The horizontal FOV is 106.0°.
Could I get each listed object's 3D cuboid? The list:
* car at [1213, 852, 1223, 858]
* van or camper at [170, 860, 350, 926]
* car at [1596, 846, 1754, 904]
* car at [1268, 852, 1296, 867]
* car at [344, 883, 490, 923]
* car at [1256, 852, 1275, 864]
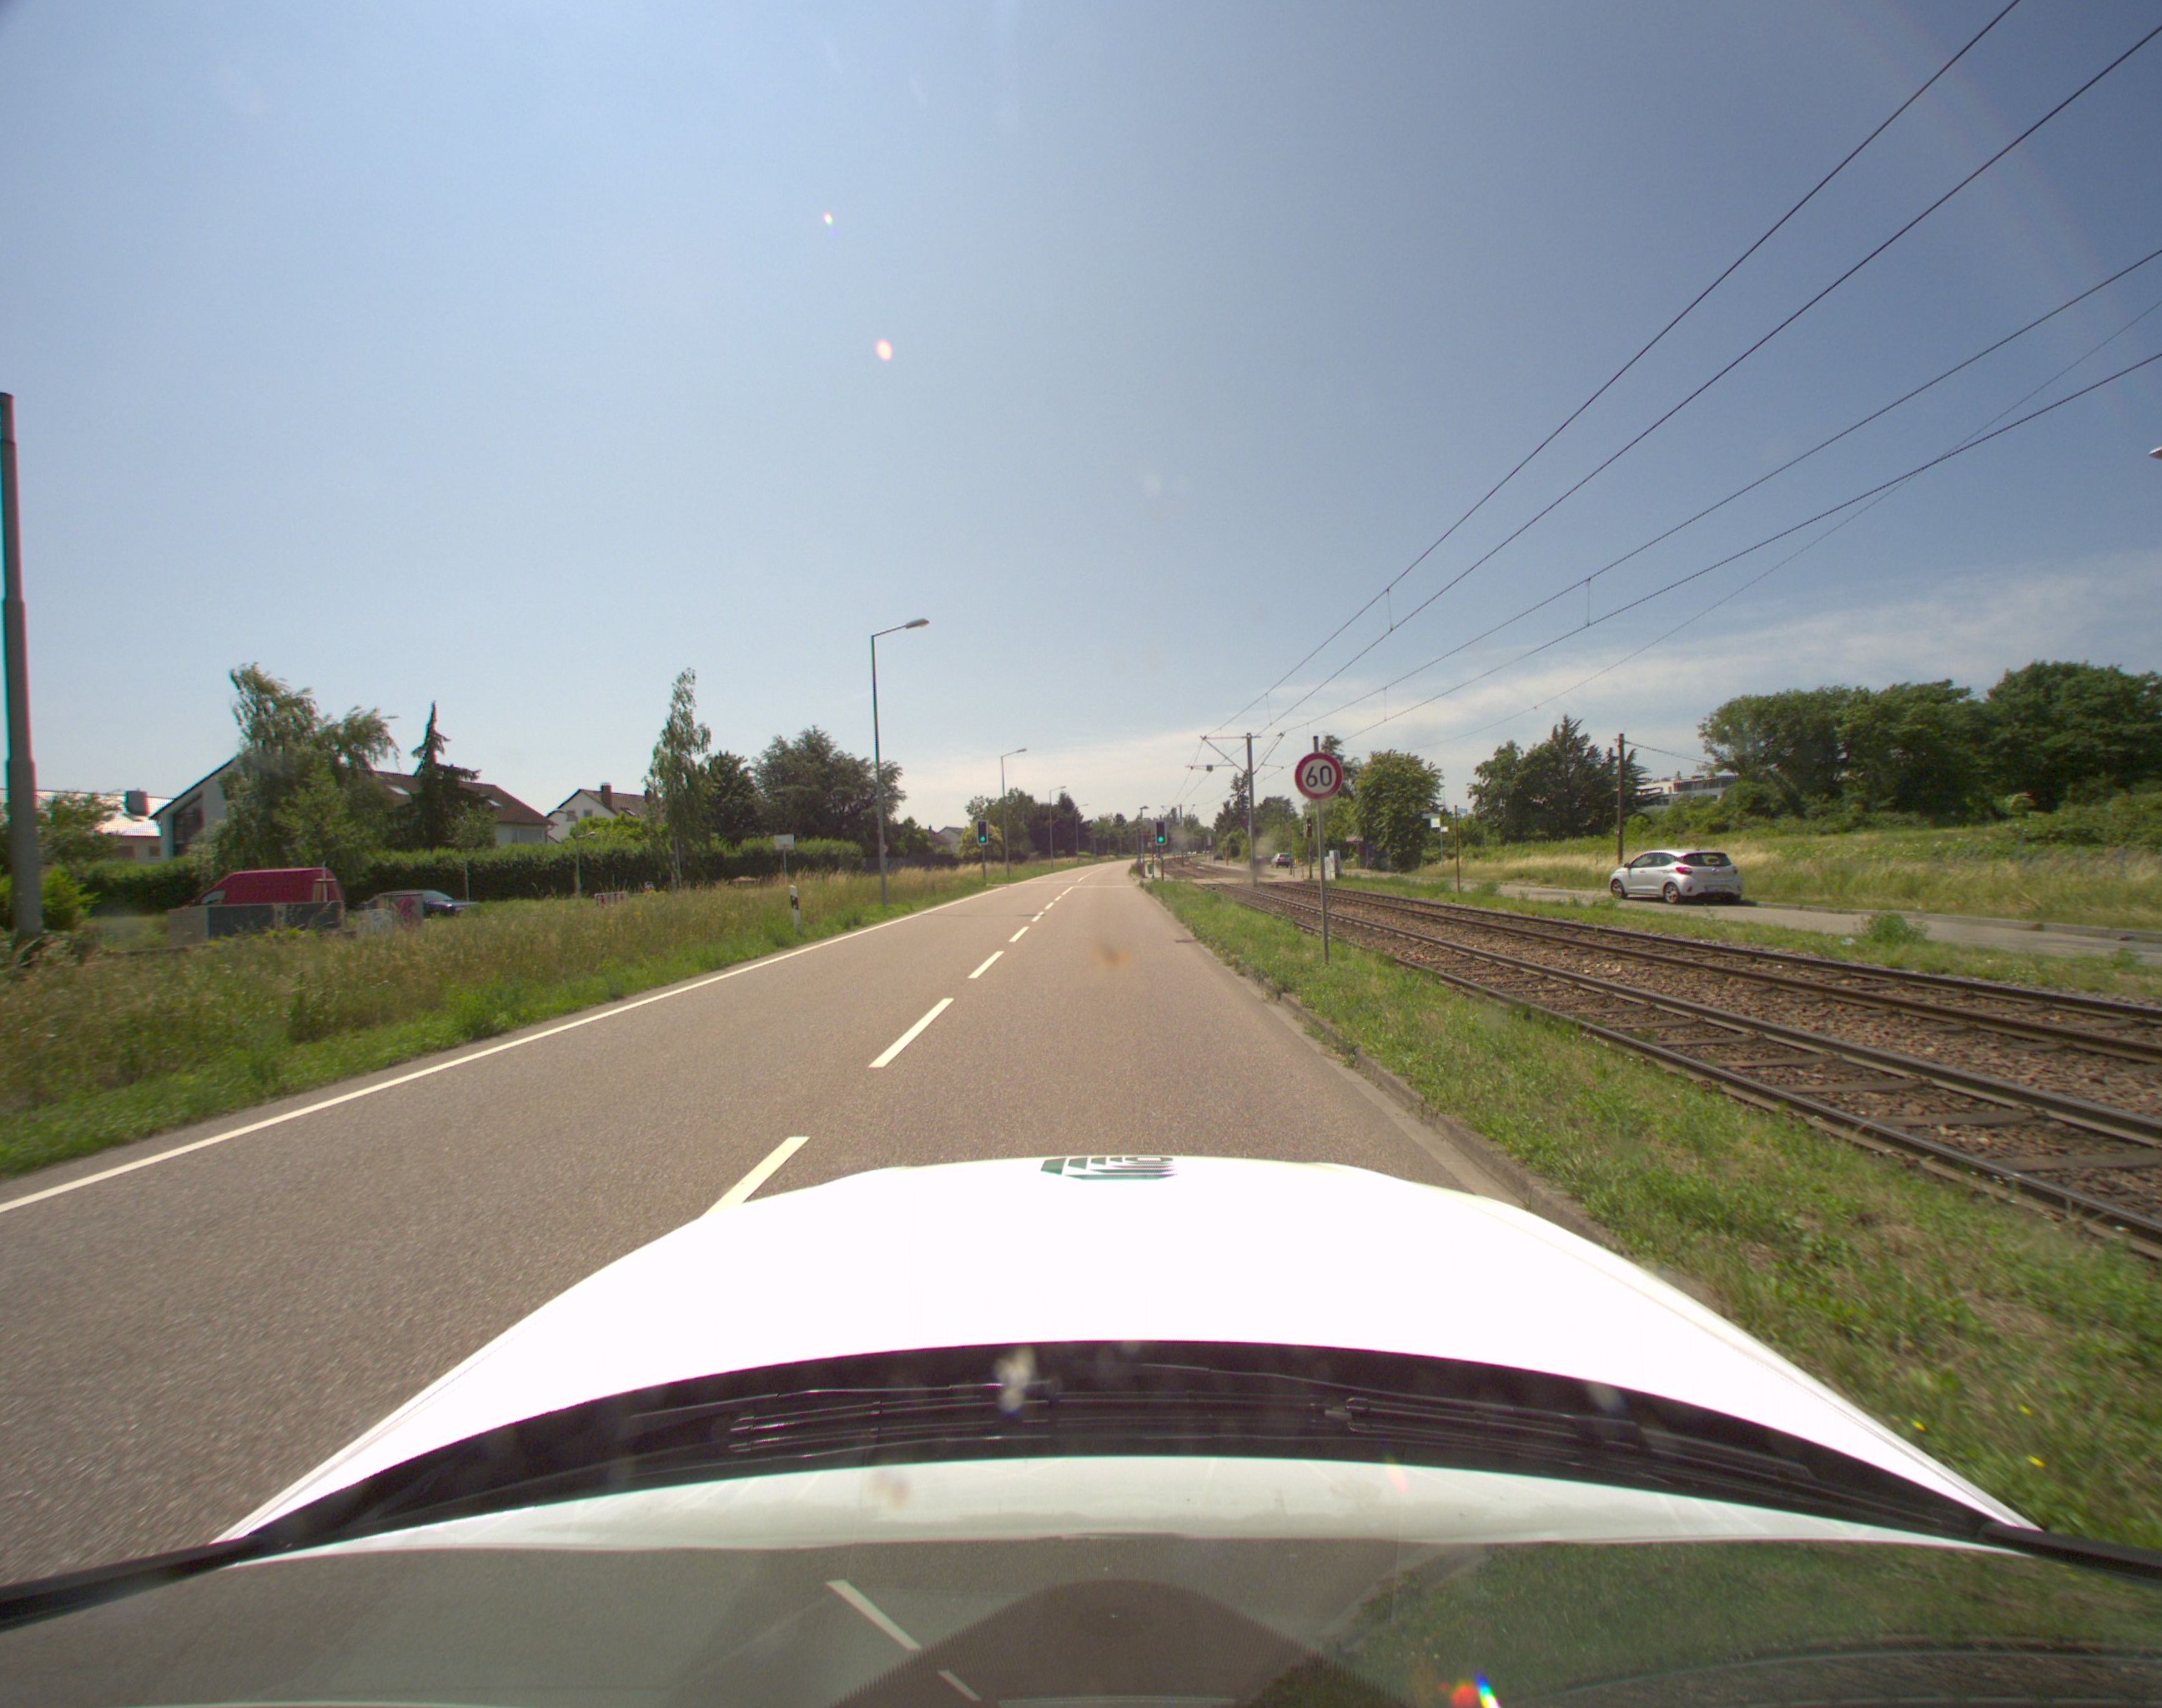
[{"bbox_3d":[28.031,0.228,166.647,1.852,1.330,4.522,-1,0,6],"label":"car"},{"bbox_3d":[-31.491,1.455,31.364,4.742,2.388,1.998,-1,0,-3],"label":"van or camper"},{"bbox_3d":[16.792,0.547,23.293,1.706,1.488,4.004,-1,0,3],"label":"car"},{"bbox_3d":[19.342,0.527,78.480,1.930,1.422,4.004,-1,0,4],"label":"car"},{"bbox_3d":[-25.861,1.892,31.842,3.977,1.354,1.998,-1,0,-3],"label":"car"},{"bbox_3d":[22.014,0.507,97.356,1.612,1.422,4.879,-1,0,5],"label":"car"}]
